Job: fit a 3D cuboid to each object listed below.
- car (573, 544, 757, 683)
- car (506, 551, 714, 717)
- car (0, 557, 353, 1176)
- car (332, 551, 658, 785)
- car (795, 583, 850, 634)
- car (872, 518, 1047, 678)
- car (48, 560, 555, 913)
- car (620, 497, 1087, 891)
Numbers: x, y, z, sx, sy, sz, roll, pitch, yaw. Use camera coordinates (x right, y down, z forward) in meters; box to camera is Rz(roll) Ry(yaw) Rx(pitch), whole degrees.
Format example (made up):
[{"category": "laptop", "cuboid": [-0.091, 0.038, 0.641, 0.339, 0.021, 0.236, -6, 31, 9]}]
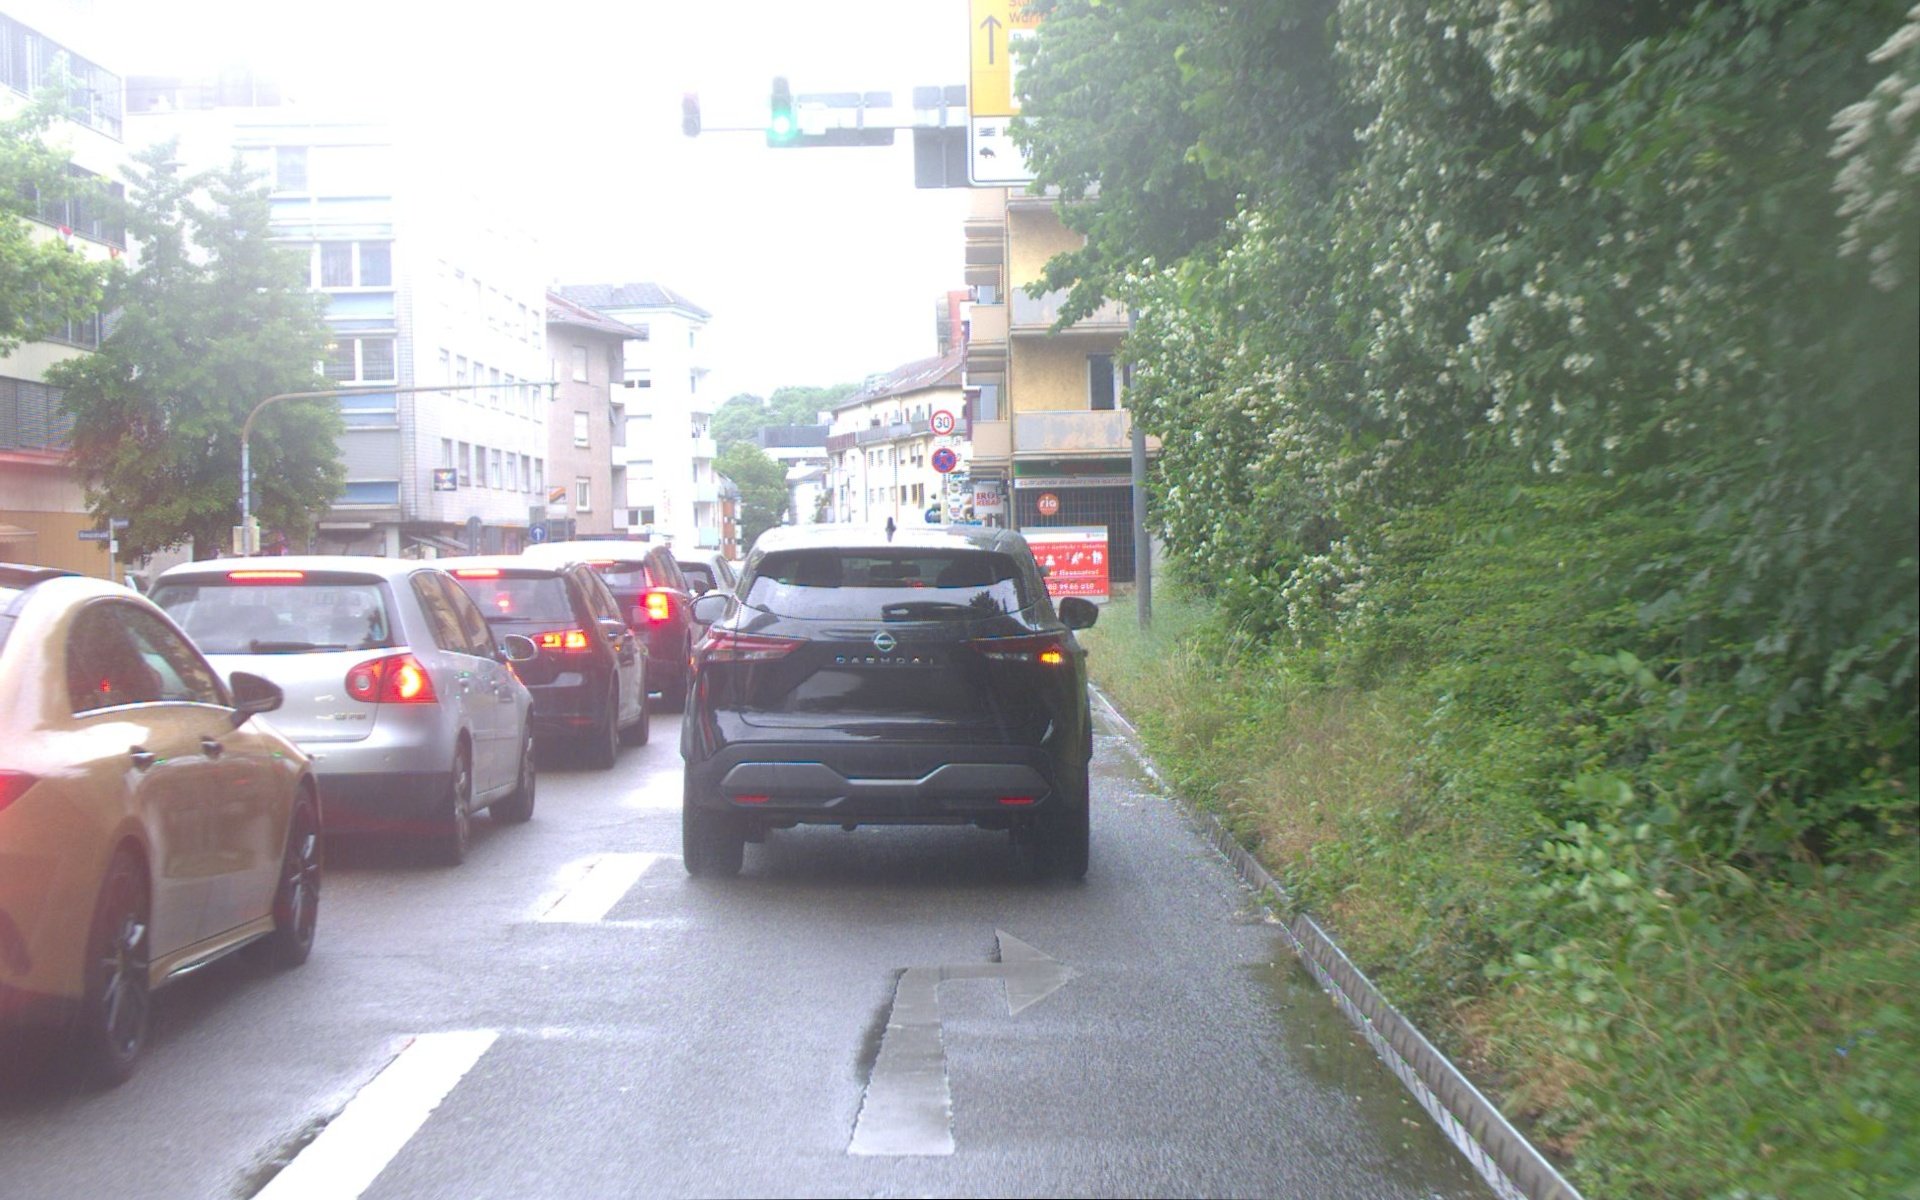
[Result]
[{"category": "car", "cuboid": [-3.294, 0.114, 39.028, 1.767, 1.439, 4.000, -2, 1, -1]}, {"category": "car", "cuboid": [-3.207, 0.271, 32.112, 1.613, 1.415, 3.967, -1, 1, -1]}, {"category": "car", "cuboid": [-3.331, 0.637, 10.628, 2.066, 1.459, 4.587, -1, 1, 0]}, {"category": "car", "cuboid": [-3.196, 0.413, 24.311, 1.755, 1.448, 4.000, -1, 1, 0]}, {"category": "car", "cuboid": [-5.803, 0.342, 145.941, 1.993, 2.007, 4.000, -3, 1, 1]}, {"category": "car", "cuboid": [0.045, -0.069, 45.861, 1.994, 2.007, 4.000, -1, 1, 4]}, {"category": "car", "cuboid": [-3.132, 0.575, 17.158, 1.744, 1.482, 4.162, -2, 1, -1]}, {"category": "car", "cuboid": [-0.498, 0.358, 16.479, 1.959, 1.647, 4.000, 0, 1, -2]}]
